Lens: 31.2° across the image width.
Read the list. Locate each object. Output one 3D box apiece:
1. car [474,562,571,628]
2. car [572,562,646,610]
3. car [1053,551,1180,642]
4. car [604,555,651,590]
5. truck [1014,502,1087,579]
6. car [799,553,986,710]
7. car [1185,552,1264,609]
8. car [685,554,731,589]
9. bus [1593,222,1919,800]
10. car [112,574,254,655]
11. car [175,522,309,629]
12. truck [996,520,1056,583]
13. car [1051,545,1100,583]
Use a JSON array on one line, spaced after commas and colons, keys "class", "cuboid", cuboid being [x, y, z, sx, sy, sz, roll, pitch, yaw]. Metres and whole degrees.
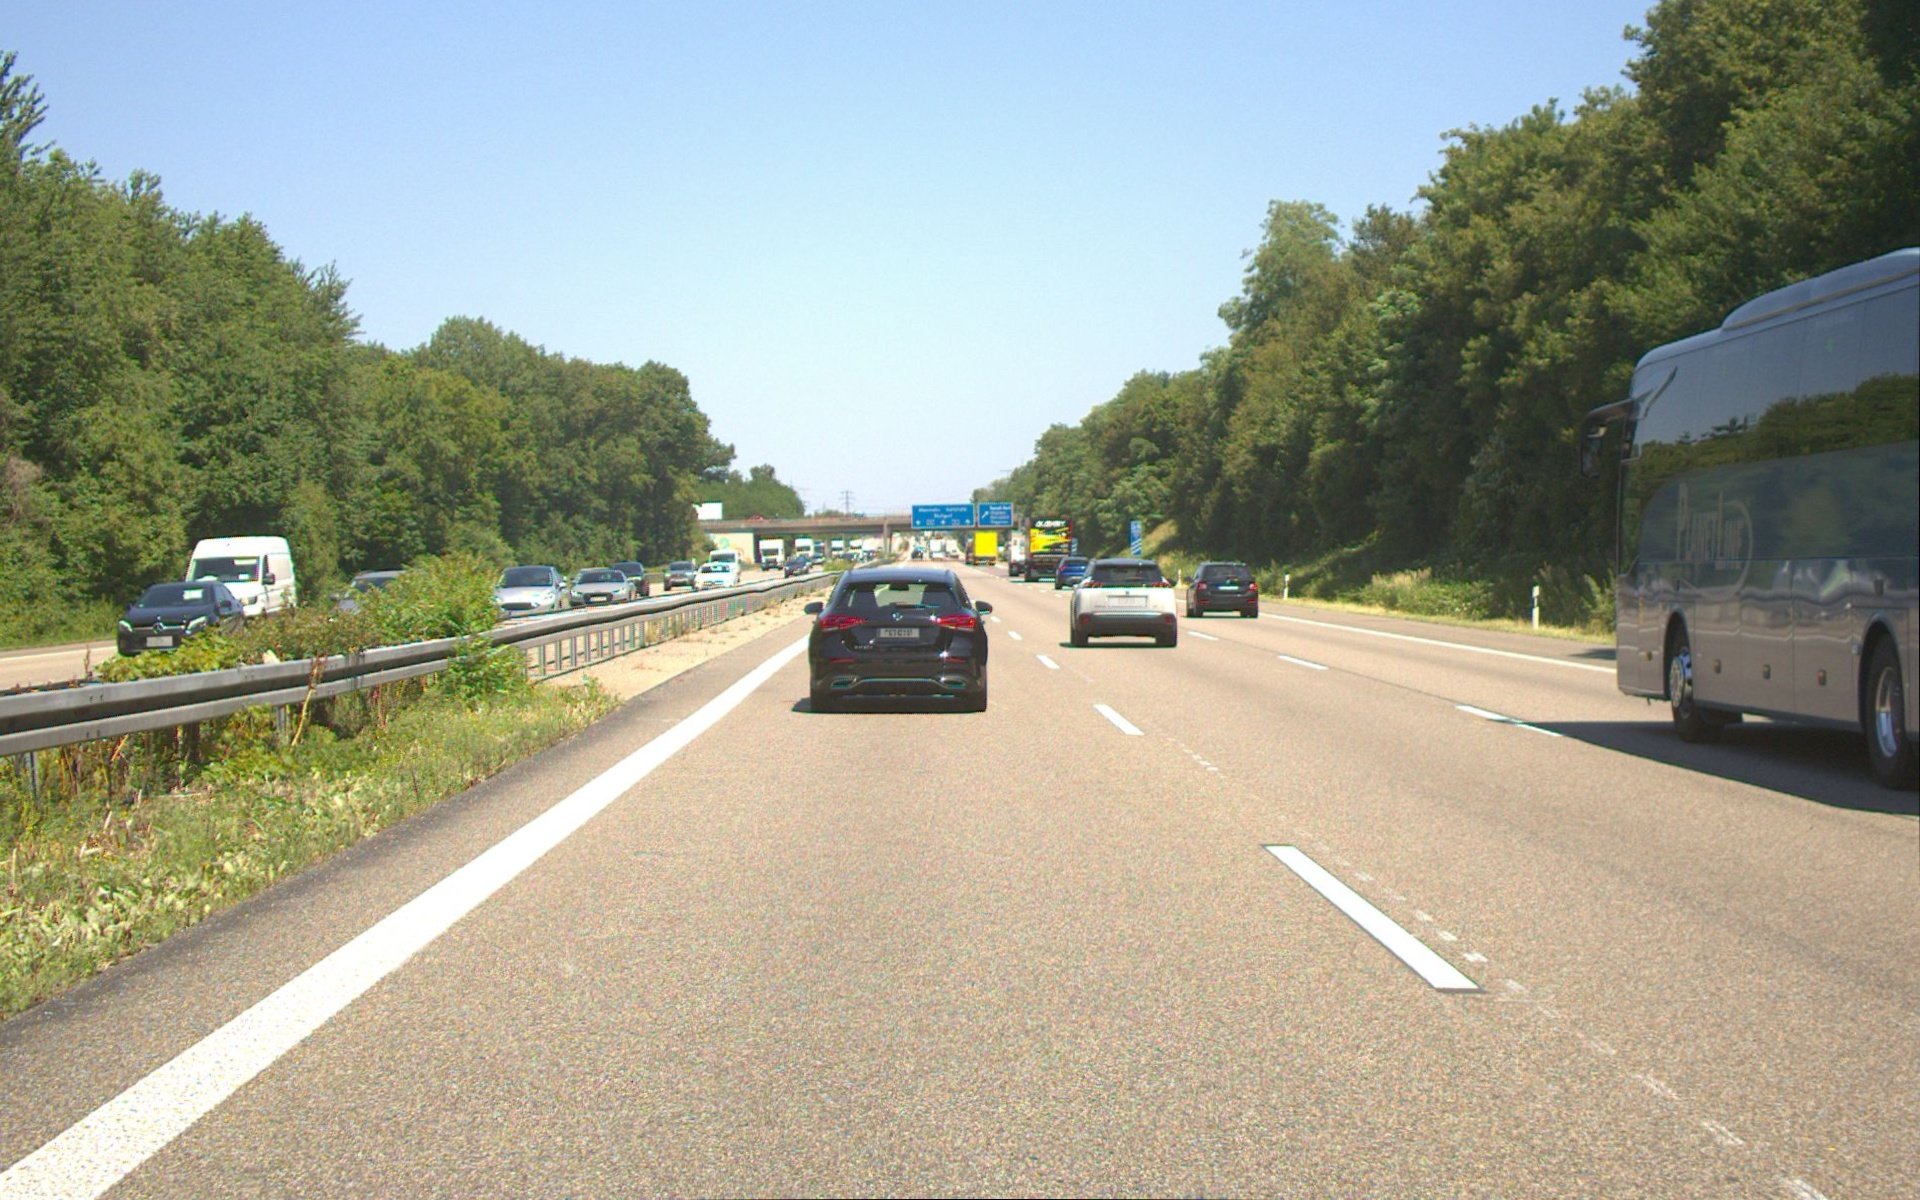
[{"class": "car", "cuboid": [-10.359, -0.138, 81.621, 1.848, 1.445, 4.208, -2, 1, -2]}, {"class": "car", "cuboid": [-10.811, -0.461, 106.258, 1.838, 1.378, 4.428, -2, 1, -1]}, {"class": "car", "cuboid": [2.707, -0.088, 60.238, 1.899, 1.527, 4.242, 0, 1, -2]}, {"class": "car", "cuboid": [-15.776, -1.311, 163.289, 1.820, 1.625, 4.798, -1, 1, -2]}, {"class": "truck", "cuboid": [5.572, -3.665, 214.127, 3.647, 4.574, 15.768, 1, 1, -2]}, {"class": "car", "cuboid": [-0.712, 0.278, 35.413, 1.799, 1.497, 4.242, 0, 1, -2]}, {"class": "car", "cuboid": [6.962, -0.531, 90.712, 1.789, 1.456, 3.949, 0, 1, 0]}, {"class": "car", "cuboid": [-11.289, -1.301, 154.107, 1.820, 1.518, 4.824, -1, 1, -2]}, {"class": "bus", "cuboid": [7.316, -0.601, 25.541, 2.802, 3.584, 12.475, 0, 1, 0]}, {"class": "car", "cuboid": [-14.421, 0.244, 64.050, 1.668, 1.398, 4.707, -1, 1, -2]}, {"class": "car", "cuboid": [-18.167, -0.646, 87.242, 2.087, 2.543, 6.228, -2, 1, -1]}, {"class": "truck", "cuboid": [4.971, -3.649, 262.175, 3.647, 4.574, 17.249, 1, 1, -2]}, {"class": "car", "cuboid": [5.535, -1.750, 165.844, 2.076, 1.745, 4.242, -1, 1, -2]}]
